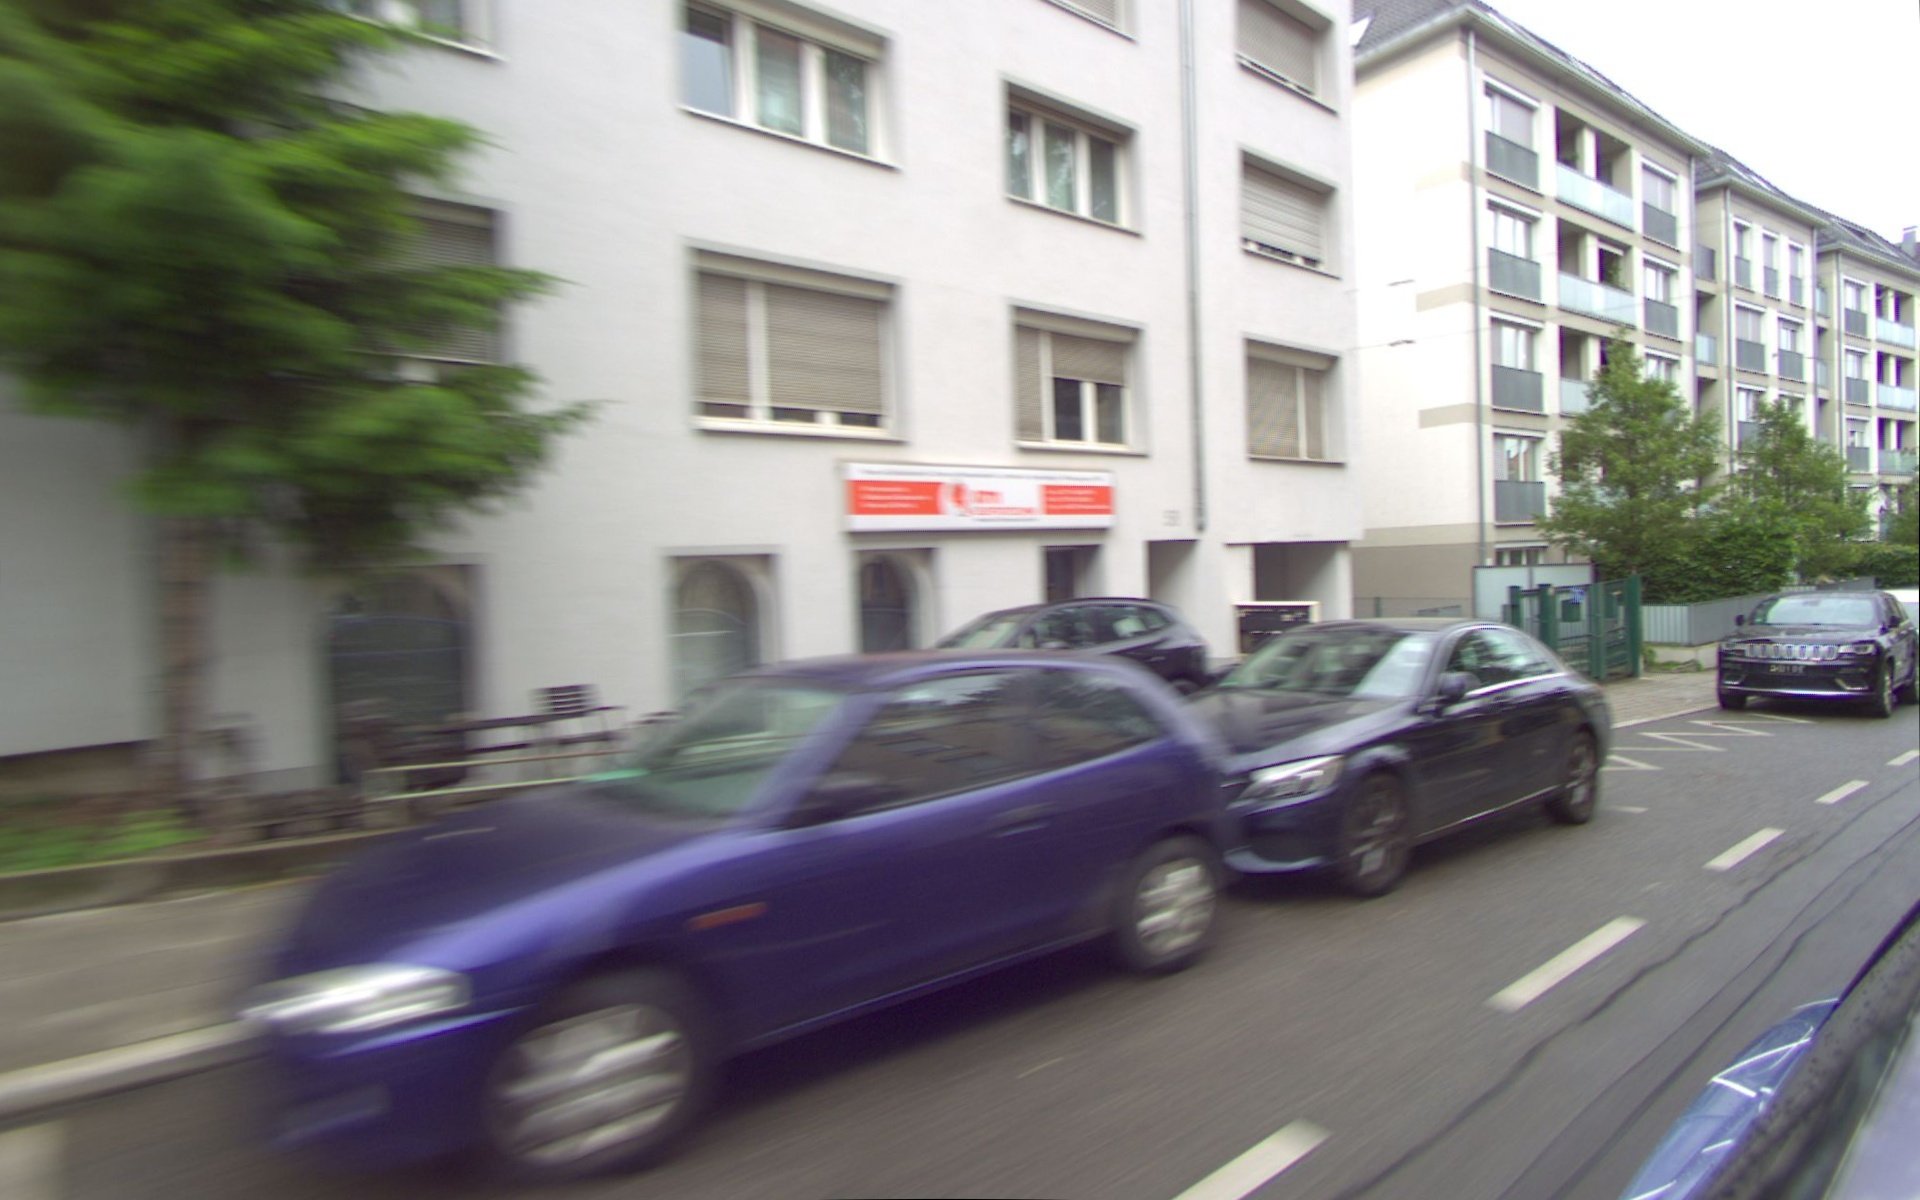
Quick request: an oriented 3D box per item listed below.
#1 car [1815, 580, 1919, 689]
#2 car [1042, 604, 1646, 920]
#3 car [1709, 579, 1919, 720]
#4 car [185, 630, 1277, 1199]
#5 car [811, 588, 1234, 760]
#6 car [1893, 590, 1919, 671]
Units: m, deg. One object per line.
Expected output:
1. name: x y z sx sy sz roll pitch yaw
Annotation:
1. car: 17.495 0.575 18.694 4.390 1.818 1.782 0 0 -39
2. car: 2.825 0.783 6.886 4.527 1.455 1.798 0 -1 -39
3. car: 13.261 0.628 15.347 4.735 1.818 1.946 -1 -1 -40
4. car: -0.611 0.837 3.952 3.812 1.355 1.682 0 -1 -39
5. car: 0.713 0.654 10.449 4.073 1.445 1.818 0 -2 -34
6. car: 22.246 0.613 22.188 4.600 1.677 1.837 -1 0 -37
